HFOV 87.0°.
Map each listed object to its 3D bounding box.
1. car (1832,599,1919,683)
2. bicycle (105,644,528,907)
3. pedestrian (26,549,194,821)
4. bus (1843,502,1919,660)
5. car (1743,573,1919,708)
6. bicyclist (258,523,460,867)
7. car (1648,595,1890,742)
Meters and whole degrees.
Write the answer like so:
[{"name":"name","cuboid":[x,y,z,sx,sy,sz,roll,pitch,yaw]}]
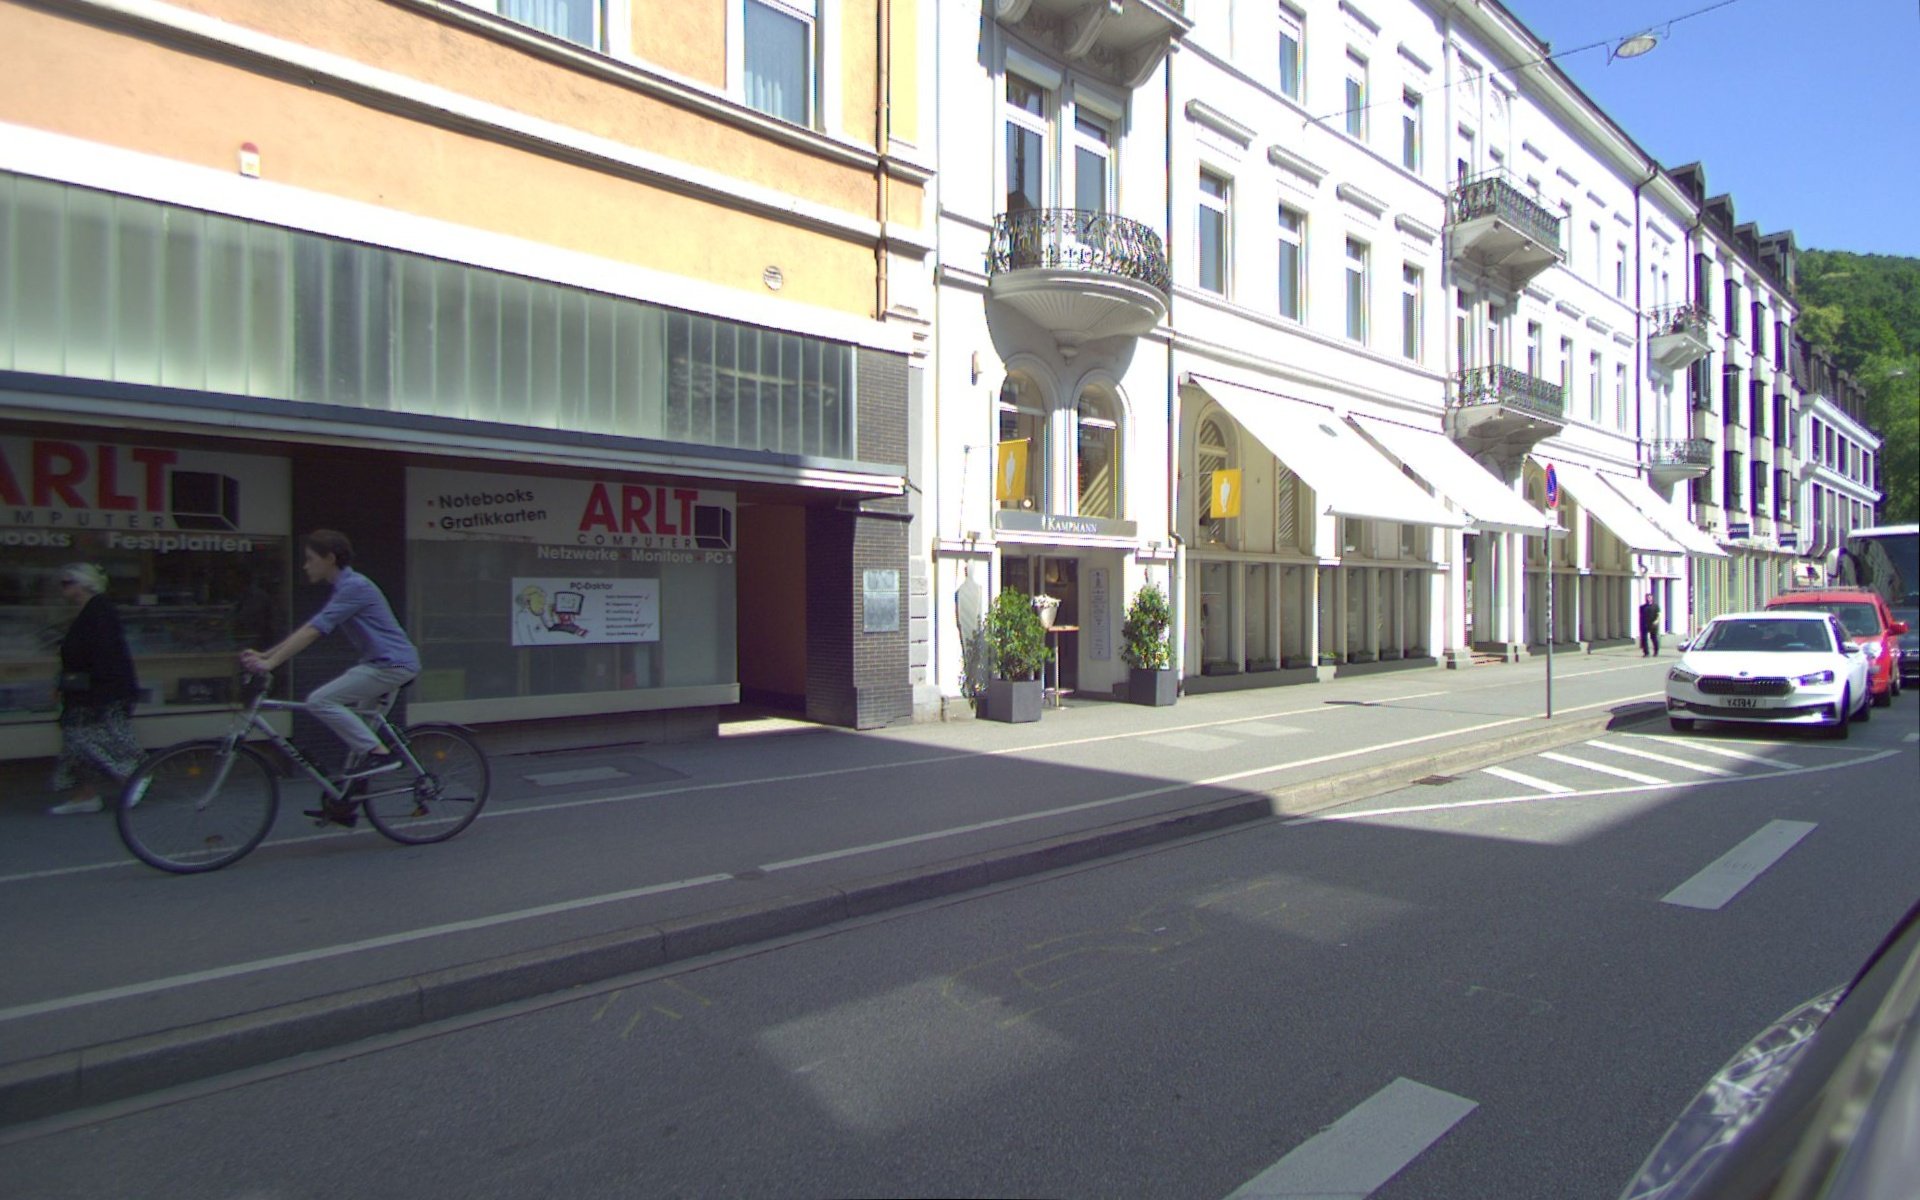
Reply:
[{"name":"car","cuboid":[18.520,0.740,19.717,4.340,1.506,1.865,0,-1,-43]},{"name":"bicycle","cuboid":[-3.494,0.855,5.613,1.885,1.132,0.747,0,0,-42]},{"name":"pedestrian","cuboid":[-5.645,0.525,6.750,0.829,1.686,0.522,0,-1,-40]},{"name":"bus","cuboid":[26.378,-0.477,27.014,12.289,3.580,2.920,-1,1,-43]},{"name":"car","cuboid":[14.571,0.614,16.761,4.530,1.937,1.699,-1,-4,-43]},{"name":"bicyclist","cuboid":[-3.406,0.469,5.728,0.830,1.739,0.909,0,1,-42]},{"name":"car","cuboid":[10.442,0.751,12.950,4.192,1.544,1.795,-1,-1,-43]}]
